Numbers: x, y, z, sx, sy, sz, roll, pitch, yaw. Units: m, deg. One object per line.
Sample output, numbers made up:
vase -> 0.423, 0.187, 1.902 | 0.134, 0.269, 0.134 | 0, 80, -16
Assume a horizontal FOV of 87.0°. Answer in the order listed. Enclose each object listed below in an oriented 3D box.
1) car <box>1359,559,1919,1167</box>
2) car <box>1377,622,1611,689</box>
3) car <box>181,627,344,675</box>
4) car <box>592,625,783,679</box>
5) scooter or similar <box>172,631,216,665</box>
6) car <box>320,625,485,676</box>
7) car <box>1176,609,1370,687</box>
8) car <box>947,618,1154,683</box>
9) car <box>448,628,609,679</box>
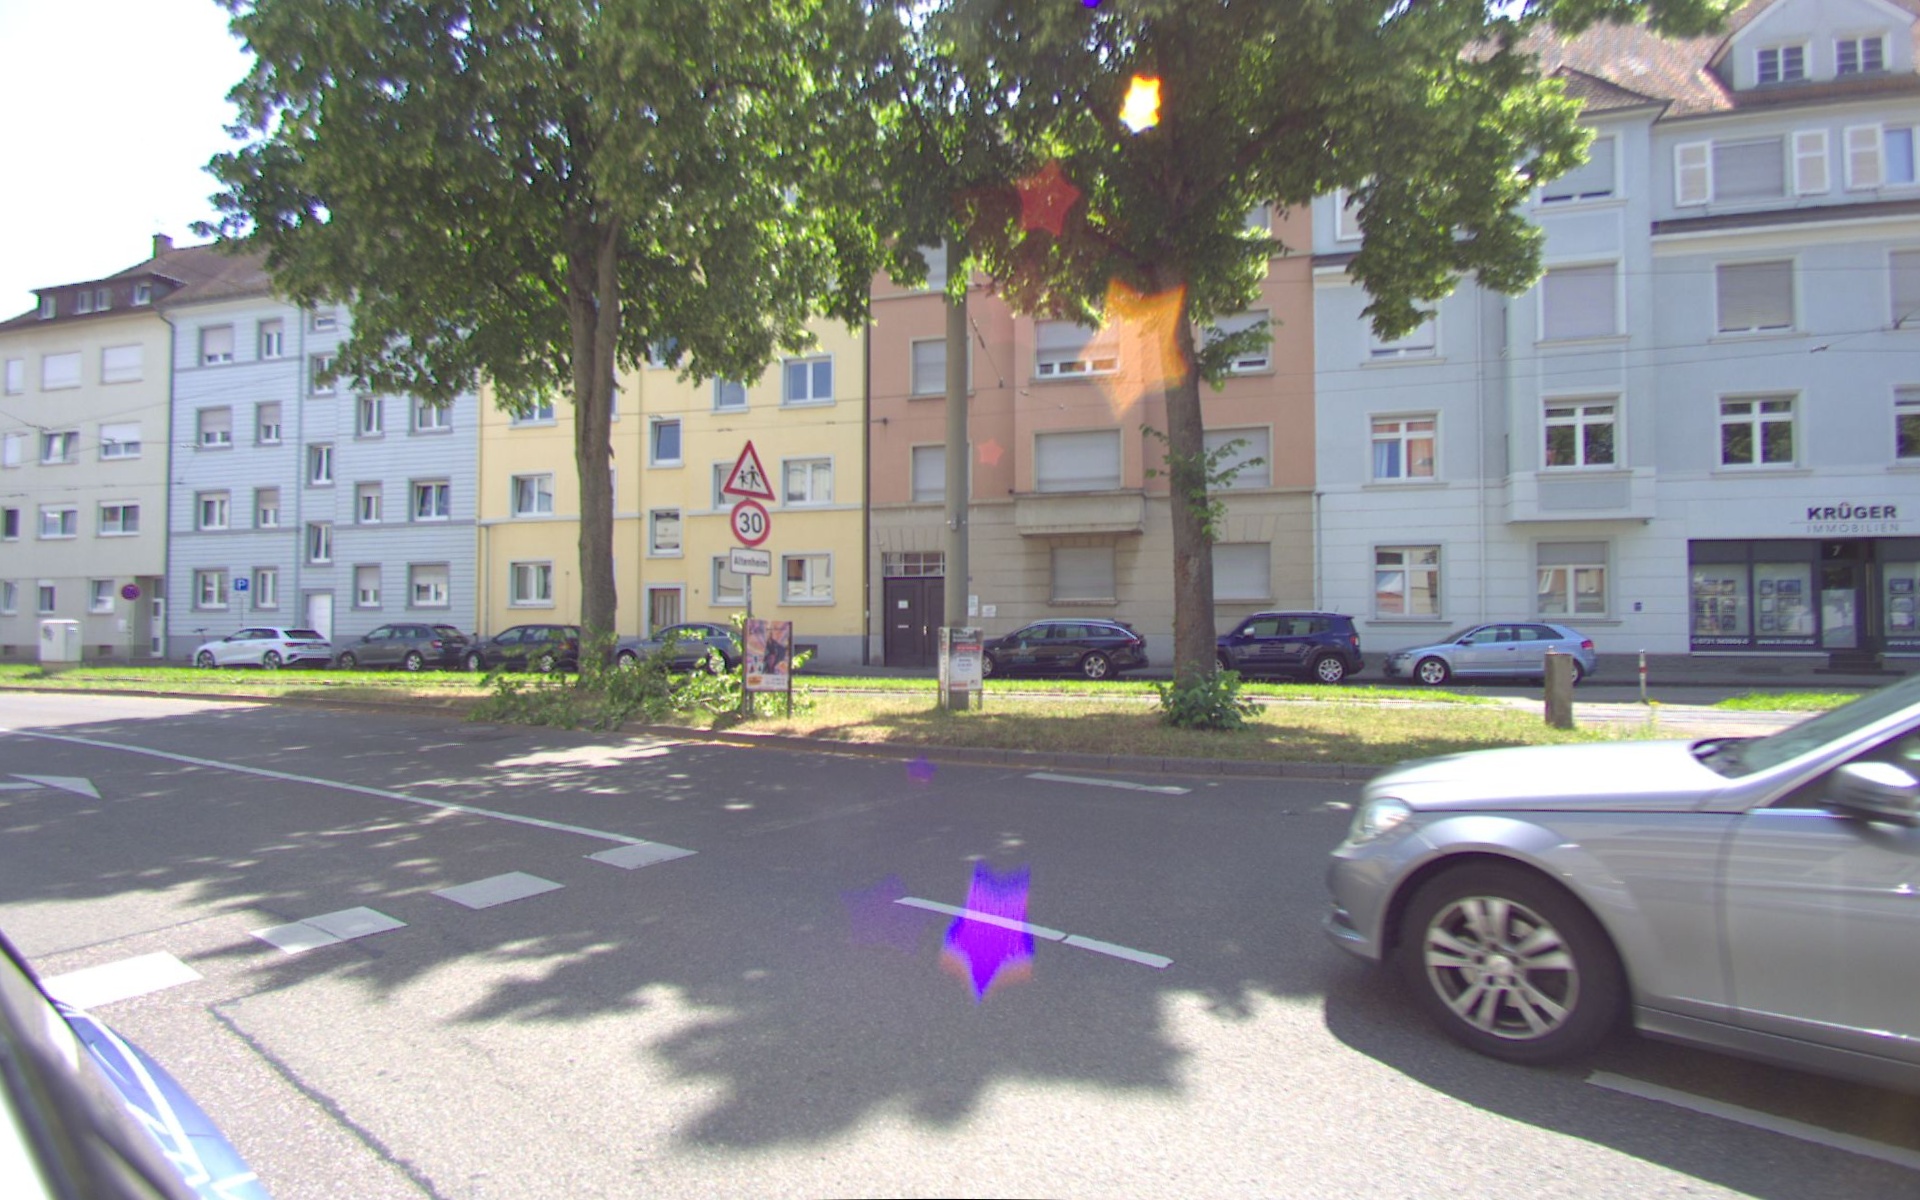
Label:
car -> 3.540, 0.639, 2.533 | 1.717, 1.499, 4.411 | 1, -2, -44
car -> 11.584, 1.235, 22.272 | 4.213, 1.367, 1.803 | -1, -4, 17
car -> -22.296, 1.662, 32.403 | 4.335, 1.463, 1.924 | -1, -5, 15
car -> -7.484, 1.446, 27.875 | 4.822, 1.409, 1.922 | -1, -4, 18
scooter or similar -> -28.525, 1.789, 37.694 | 1.309, 1.232, 0.637 | -1, -1, 17
car -> -17.126, 1.565, 31.135 | 4.285, 1.516, 1.924 | -1, -4, 15
car -> 7.196, 1.140, 23.551 | 4.106, 1.698, 1.832 | -1, -4, 17
car -> 2.263, 1.272, 25.001 | 4.821, 1.502, 1.923 | -1, -4, 17
car -> -12.571, 1.569, 29.546 | 4.106, 1.411, 1.826 | -1, -4, 17
